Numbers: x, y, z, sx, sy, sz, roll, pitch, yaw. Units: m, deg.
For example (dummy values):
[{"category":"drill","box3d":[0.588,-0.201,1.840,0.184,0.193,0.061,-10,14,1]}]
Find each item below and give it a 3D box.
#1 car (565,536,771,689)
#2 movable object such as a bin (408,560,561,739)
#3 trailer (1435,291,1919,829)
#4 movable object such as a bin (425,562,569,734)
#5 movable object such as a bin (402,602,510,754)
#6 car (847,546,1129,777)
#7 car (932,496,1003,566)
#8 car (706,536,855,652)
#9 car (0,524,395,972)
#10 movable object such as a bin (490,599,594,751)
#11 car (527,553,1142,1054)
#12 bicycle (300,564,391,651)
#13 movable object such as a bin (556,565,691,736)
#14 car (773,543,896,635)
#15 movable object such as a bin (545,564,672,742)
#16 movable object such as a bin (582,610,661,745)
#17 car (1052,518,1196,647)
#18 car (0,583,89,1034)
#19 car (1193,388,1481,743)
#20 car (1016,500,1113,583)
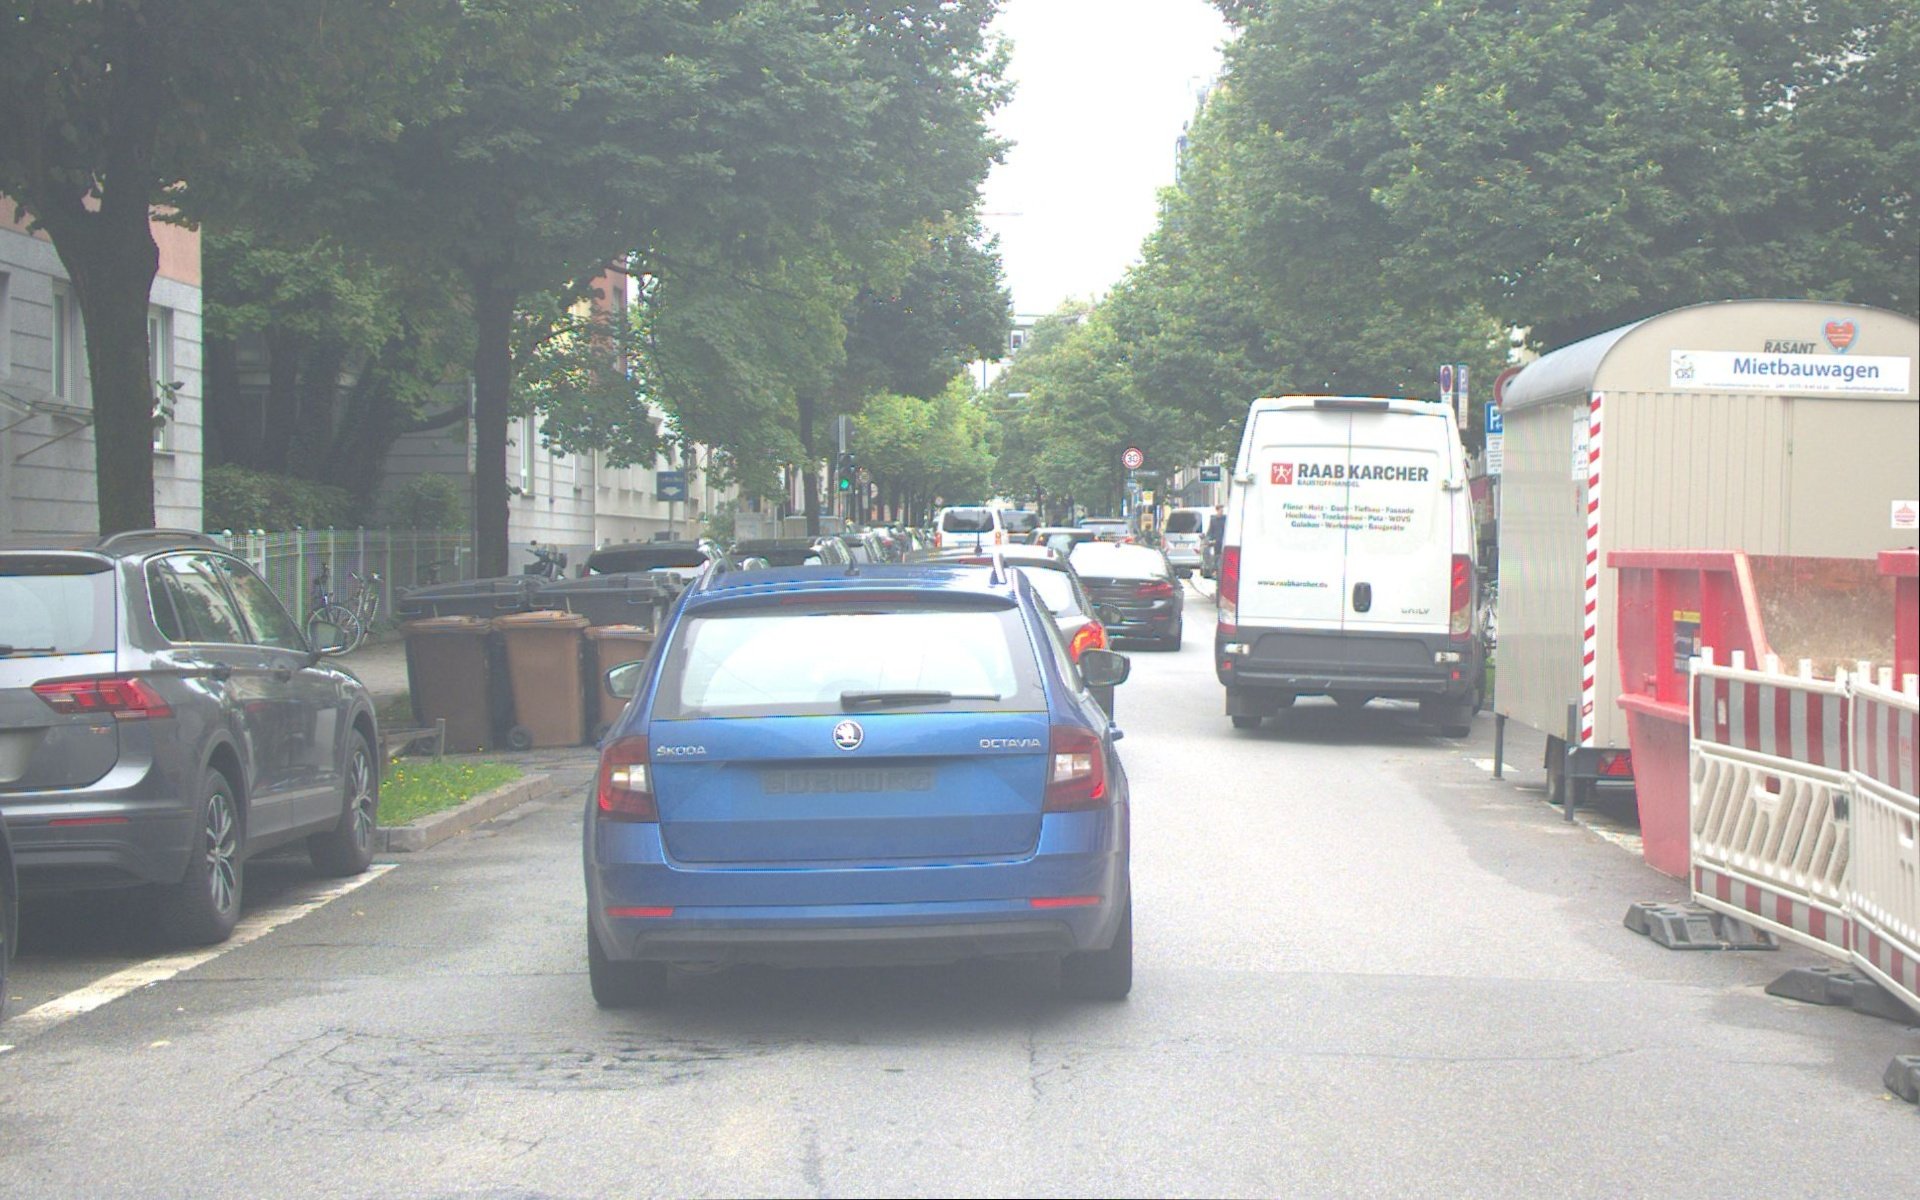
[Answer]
[{"category":"car","box3d":[-2.979,0.090,35.736,1.812,1.473,4.000,1,1,0]},{"category":"movable object such as a bin","box3d":[-3.843,0.387,27.859,1.081,1.372,1.084,-2,1,-2]},{"category":"trailer","box3d":[4.675,-0.239,21.769,2.502,2.830,6.901,1,0,2]},{"category":"movable object such as a bin","box3d":[-3.886,0.393,28.961,1.057,1.372,1.096,-2,1,-2]},{"category":"movable object such as a bin","box3d":[-3.948,0.606,26.978,0.721,1.134,0.658,-2,1,-2]},{"category":"car","box3d":[0.211,0.361,23.137,1.741,1.417,3.664,0,1,1]},{"category":"car","box3d":[0.223,-1.926,95.233,1.867,1.863,4.347,1,1,1]},{"category":"car","box3d":[-2.380,-0.117,46.454,1.812,1.473,4.000,1,1,0]},{"category":"car","box3d":[-3.733,0.511,14.621,1.785,1.622,4.185,-1,1,2]},{"category":"movable object such as a bin","box3d":[-3.280,0.583,27.012,0.711,1.144,0.636,-2,1,-2]},{"category":"car","box3d":[-0.281,0.567,12.180,1.789,1.455,4.314,0,1,2]},{"category":"bicycle","box3d":[-7.898,0.084,44.262,0.635,1.063,2.387,-1,1,3]},{"category":"movable object such as a bin","box3d":[-2.828,0.414,29.011,1.020,1.372,1.104,-2,1,-2]},{"category":"car","box3d":[-2.097,-0.220,58.492,1.812,1.473,4.000,1,1,2]},{"category":"movable object such as a bin","box3d":[-2.845,0.418,27.913,0.918,1.372,1.080,-2,1,-2]},{"category":"movable object such as a bin","box3d":[-2.660,0.602,27.055,0.546,1.017,0.636,-2,1,-2]},{"category":"car","box3d":[2.263,-0.288,48.374,1.867,1.690,4.347,1,1,1]},{"category":"car","box3d":[-3.909,0.673,9.818,1.699,1.404,3.708,-1,1,3]},{"category":"car","box3d":[3.223,-0.287,28.913,2.113,2.654,5.498,1,0,7]},{"category":"car","box3d":[2.198,-1.263,73.541,1.867,1.690,4.348,1,1,-1]}]
